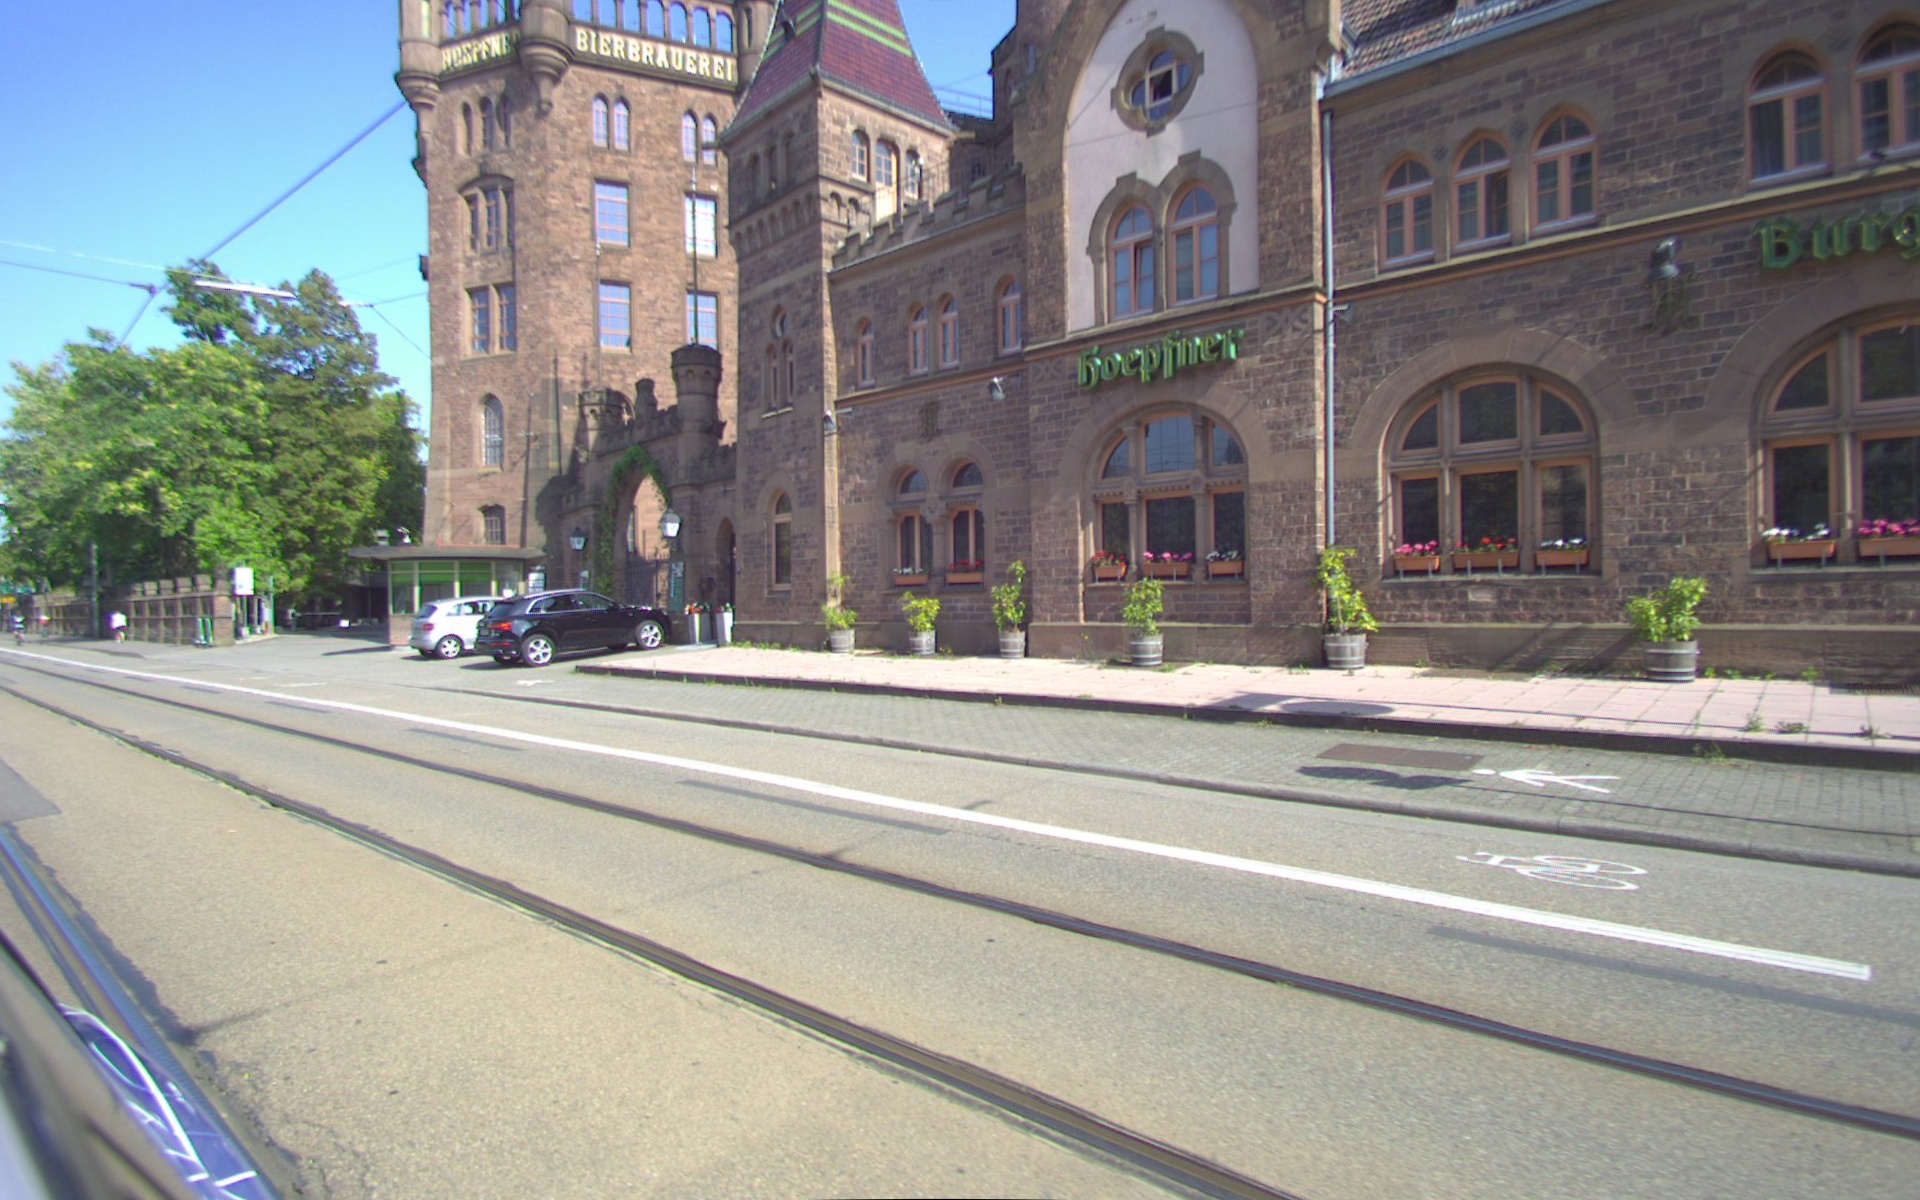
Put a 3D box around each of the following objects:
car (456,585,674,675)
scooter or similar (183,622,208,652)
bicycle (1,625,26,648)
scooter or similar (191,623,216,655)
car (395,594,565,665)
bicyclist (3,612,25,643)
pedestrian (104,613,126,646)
[{"bbox_3d":[-9.321,0.644,24.135,1.957,1.657,4.350,-1,4,43],"label":"car"},{"bbox_3d":[-30.497,1.477,40.373,0.280,1.157,0.816,-1,2,5],"label":"scooter or similar"},{"bbox_3d":[-49.490,1.901,52.918,2.036,1.166,0.690,0,0,40],"label":"bicycle"},{"bbox_3d":[-29.570,1.517,39.557,0.280,1.157,0.816,-1,2,5],"label":"scooter or similar"},{"bbox_3d":[-13.469,0.781,28.530,1.823,1.607,3.857,-2,3,44],"label":"car"},{"bbox_3d":[-49.473,1.452,52.923,1.086,1.592,0.690,0,0,39],"label":"bicyclist"},{"bbox_3d":[-41.589,1.465,49.798,0.775,1.601,0.708,-1,0,41],"label":"pedestrian"}]
